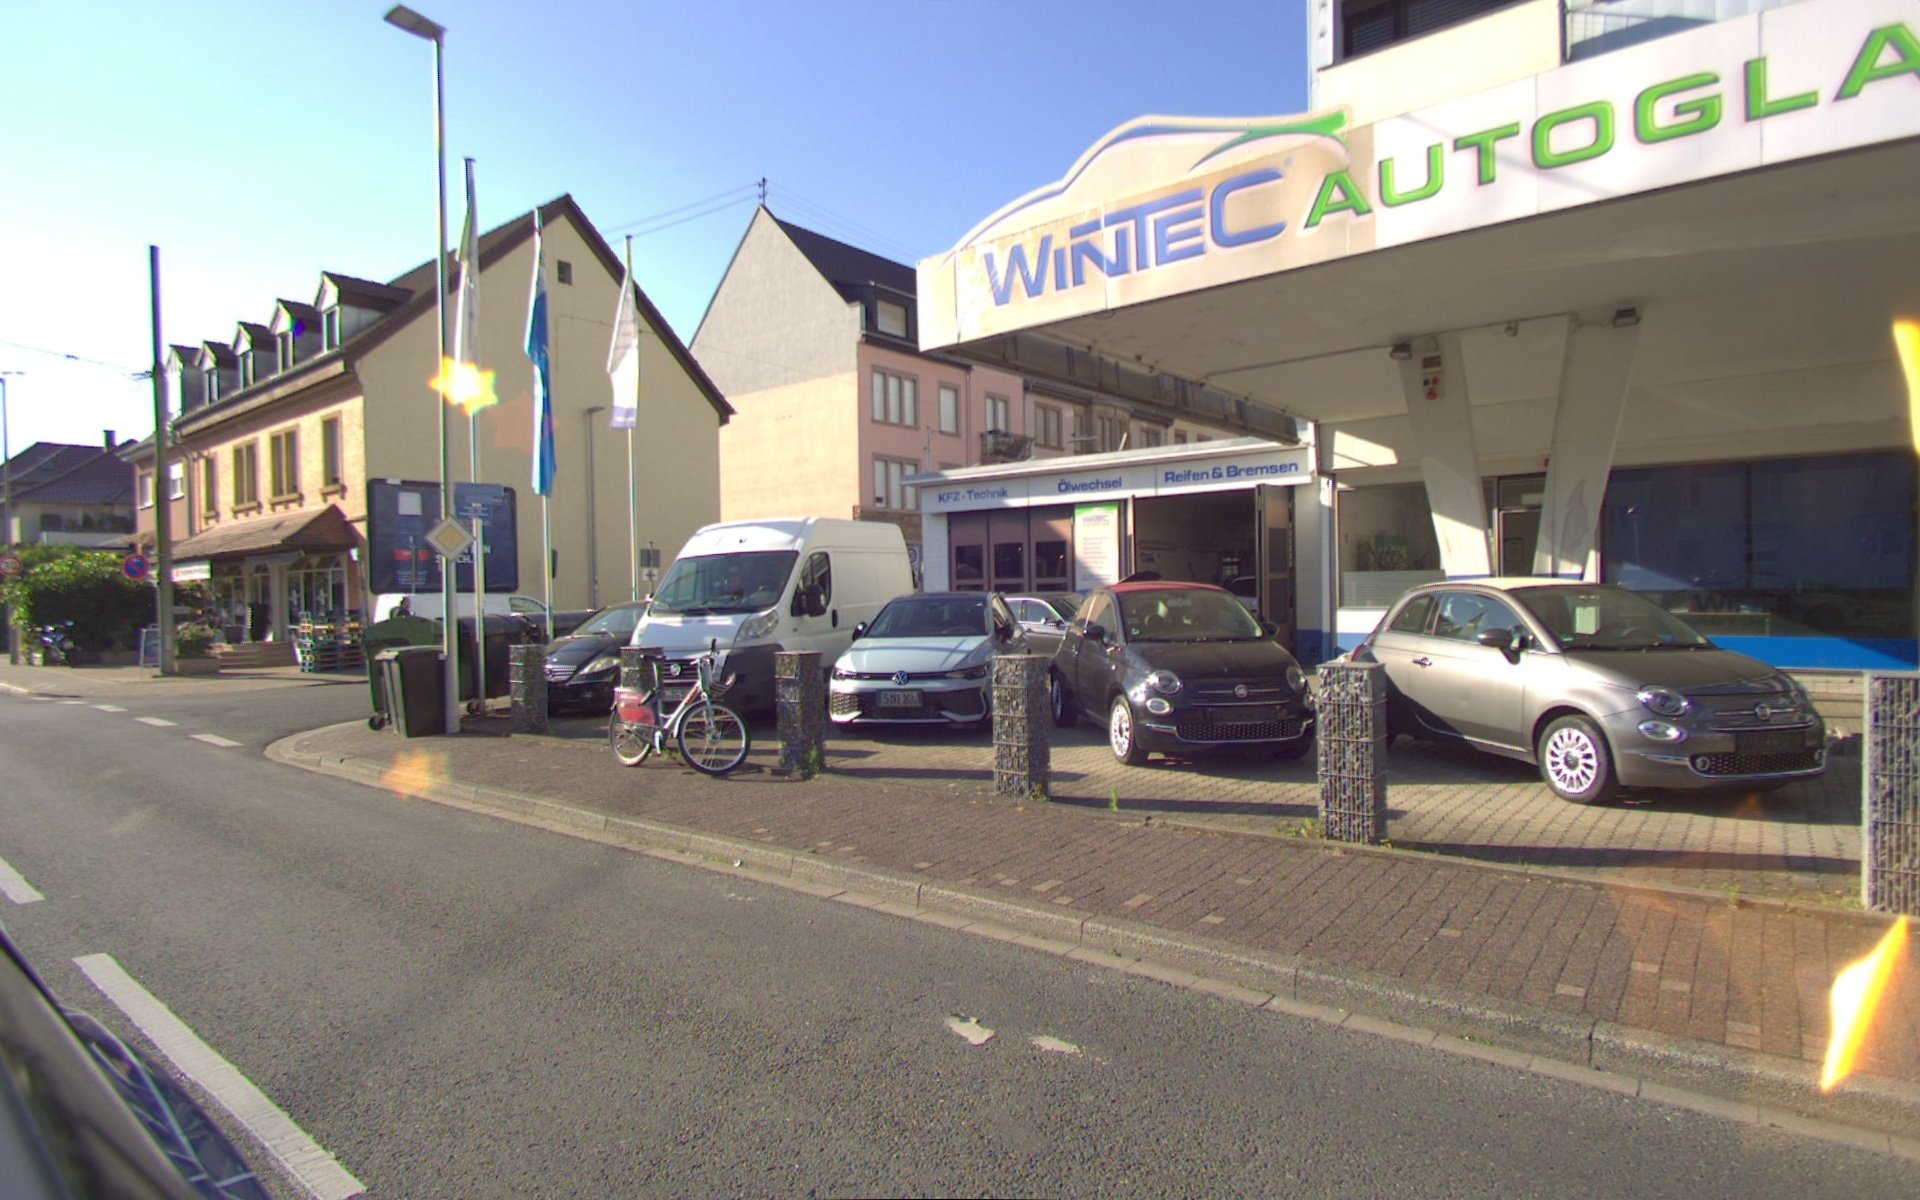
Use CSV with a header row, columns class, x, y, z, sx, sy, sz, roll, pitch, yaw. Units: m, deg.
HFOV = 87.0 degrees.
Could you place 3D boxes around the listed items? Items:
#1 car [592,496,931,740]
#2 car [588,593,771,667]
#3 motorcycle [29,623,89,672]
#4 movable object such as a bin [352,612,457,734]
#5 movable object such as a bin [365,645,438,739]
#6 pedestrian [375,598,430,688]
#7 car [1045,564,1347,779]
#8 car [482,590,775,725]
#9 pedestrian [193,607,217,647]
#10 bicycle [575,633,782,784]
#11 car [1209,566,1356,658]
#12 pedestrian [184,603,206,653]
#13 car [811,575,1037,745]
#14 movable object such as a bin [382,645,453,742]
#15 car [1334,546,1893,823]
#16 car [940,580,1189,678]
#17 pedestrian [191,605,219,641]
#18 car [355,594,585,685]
class,x,y,z,sx,sy,sz,roll,pitch,yaw
car,-2.214,0.160,13.072,2.091,2.488,5.043,-1,1,18
car,-7.945,0.786,29.121,1.996,1.909,4.917,-1,0,35
motorcycle,-25.933,1.344,29.113,2.228,1.292,0.831,-1,1,37
movable object such as a bin,-7.471,0.970,13.683,1.040,1.494,1.316,-3,-2,-22
movable object such as a bin,-6.969,1.127,12.634,0.652,1.070,0.586,-4,0,-38
pedestrian,-11.999,0.909,21.791,0.820,1.882,0.784,-2,0,42
car,1.946,0.524,9.355,1.596,1.580,3.399,-1,0,-7
car,-4.590,0.724,14.644,1.763,1.580,3.967,-2,1,25
pedestrian,-24.599,0.883,32.960,0.465,1.268,0.518,-1,0,41
bicycle,-2.495,0.895,8.920,1.774,1.186,0.718,-1,0,31
car,7.023,0.197,21.752,1.769,1.722,4.264,-2,1,35
pedestrian,-24.450,0.874,32.344,0.502,1.572,0.459,0,0,41
car,-0.215,0.551,11.634,1.753,1.580,3.988,-2,1,10
movable object such as a bin,-6.525,1.112,12.171,0.631,1.077,0.581,-2,-2,-38
car,4.542,0.480,7.680,1.595,1.580,3.402,-1,0,-12
car,1.856,0.525,18.771,4.310,1.580,1.750,-2,1,39
pedestrian,-23.562,0.718,31.573,0.632,1.118,0.557,-1,0,40
car,-11.635,0.856,24.304,1.997,1.947,4.572,-1,0,37
